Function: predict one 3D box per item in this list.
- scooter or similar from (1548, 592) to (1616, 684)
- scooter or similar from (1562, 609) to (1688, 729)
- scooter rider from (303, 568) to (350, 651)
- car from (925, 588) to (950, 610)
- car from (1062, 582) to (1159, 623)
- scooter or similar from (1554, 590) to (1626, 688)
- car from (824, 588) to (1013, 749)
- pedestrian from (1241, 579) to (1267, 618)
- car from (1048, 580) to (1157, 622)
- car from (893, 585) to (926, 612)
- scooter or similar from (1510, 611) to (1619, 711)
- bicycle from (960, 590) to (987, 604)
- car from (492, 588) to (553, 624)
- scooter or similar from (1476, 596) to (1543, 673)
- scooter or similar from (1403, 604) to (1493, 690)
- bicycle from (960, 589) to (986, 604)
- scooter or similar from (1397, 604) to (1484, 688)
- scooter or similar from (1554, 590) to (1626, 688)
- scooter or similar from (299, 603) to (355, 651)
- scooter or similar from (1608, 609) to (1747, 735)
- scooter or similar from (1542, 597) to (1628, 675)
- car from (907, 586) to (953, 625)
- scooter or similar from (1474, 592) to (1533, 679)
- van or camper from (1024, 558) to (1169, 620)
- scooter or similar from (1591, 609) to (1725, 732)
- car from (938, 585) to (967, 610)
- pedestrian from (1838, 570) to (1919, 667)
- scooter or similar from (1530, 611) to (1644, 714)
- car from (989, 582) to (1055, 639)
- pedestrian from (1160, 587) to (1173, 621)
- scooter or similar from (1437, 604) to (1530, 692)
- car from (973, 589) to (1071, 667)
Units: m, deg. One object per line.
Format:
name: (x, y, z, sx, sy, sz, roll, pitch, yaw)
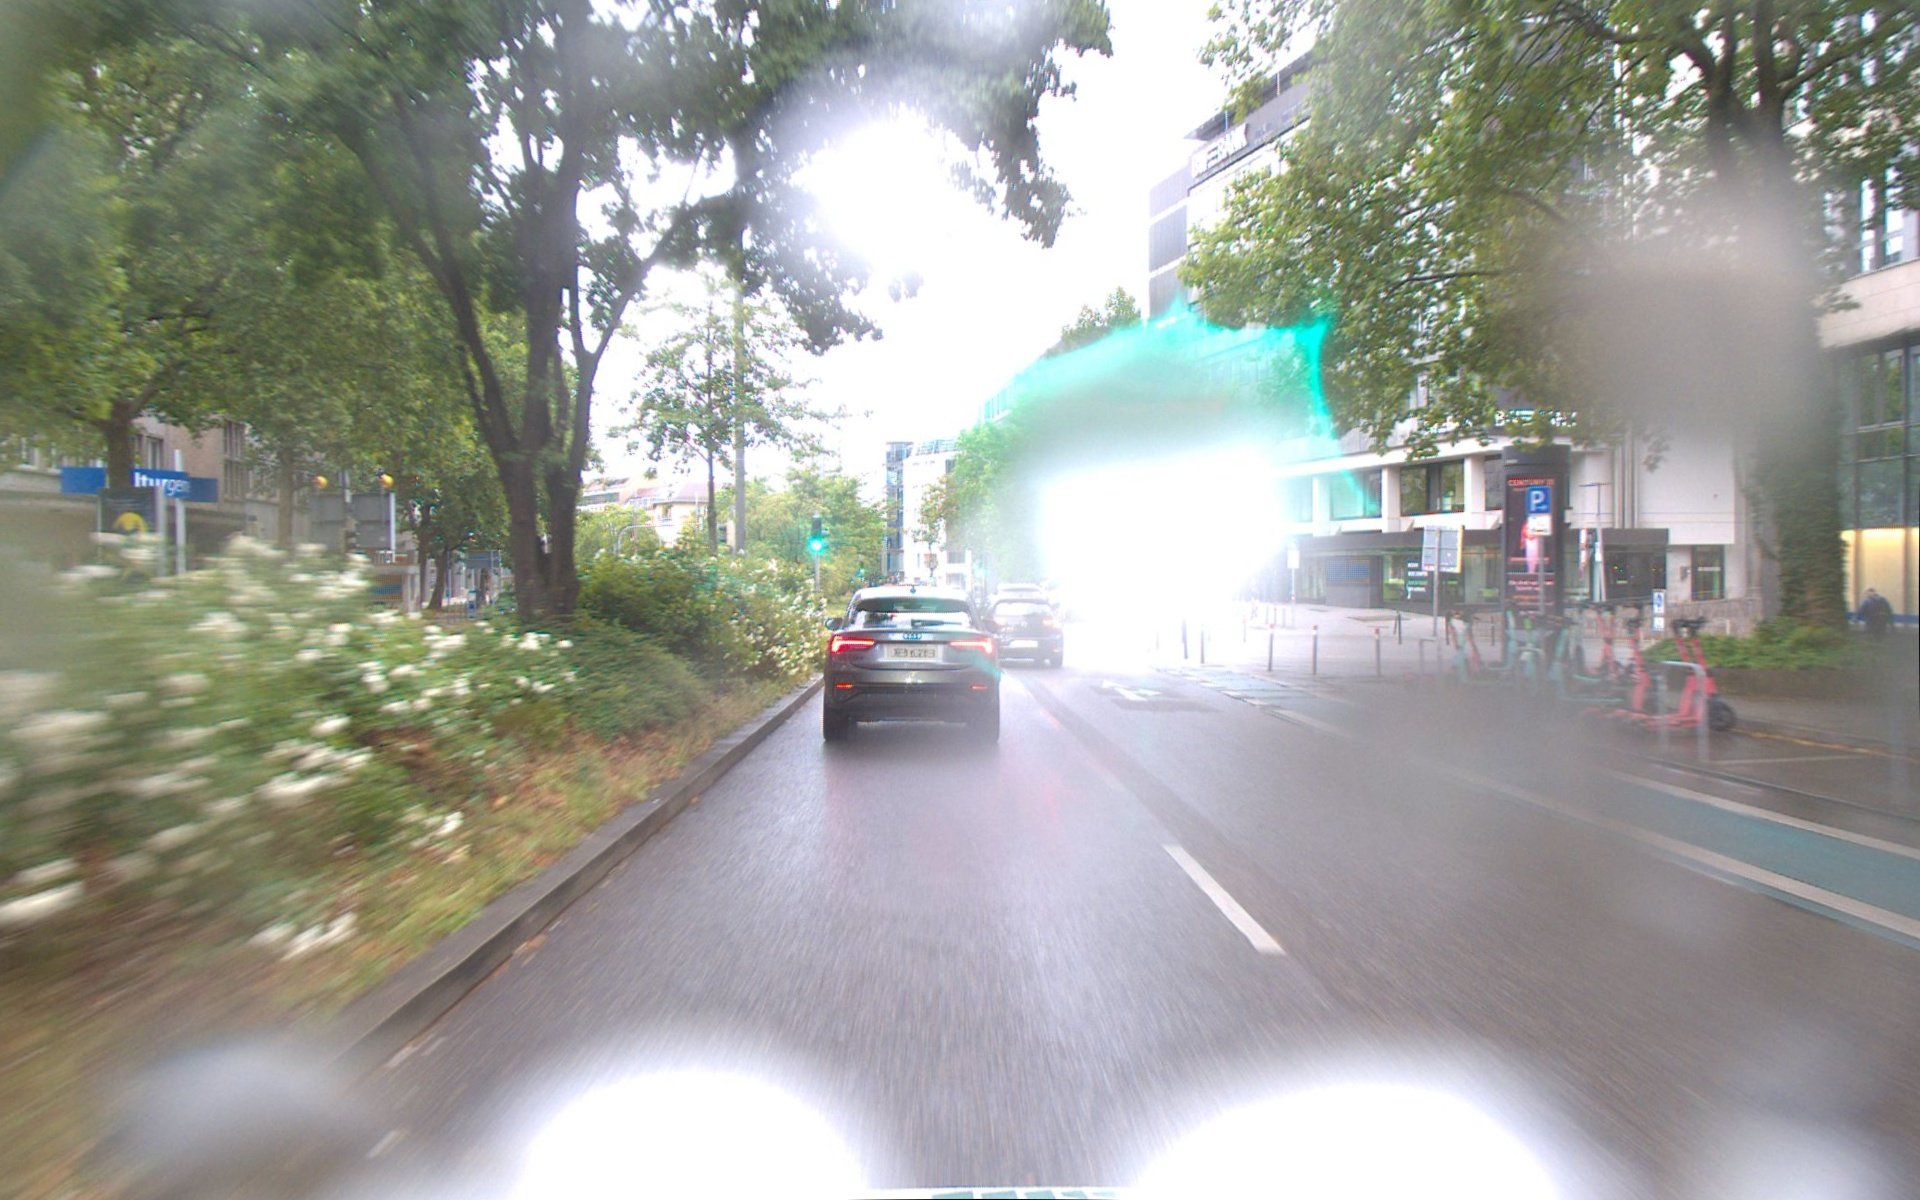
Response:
scooter or similar: (9.153, 0.542, 24.381, 0.478, 1.281, 1.293, -1, 2, -1)
scooter or similar: (7.665, 0.781, 19.074, 1.267, 1.300, 0.535, -2, 2, -12)
scooter rider: (-15.309, 0.229, 39.975, 0.882, 1.974, 0.756, 0, 0, -5)
car: (-1.673, -0.088, 122.040, 1.812, 1.550, 4.037, 0, 0, -1)
car: (6.008, 0.096, 66.054, 3.572, 1.574, 1.716, 1, 0, 18)
scooter or similar: (8.807, 0.530, 23.142, 0.478, 1.281, 1.293, -1, 2, -1)
car: (-0.466, 0.652, 17.986, 1.812, 1.550, 4.037, 0, 0, -2)
pedestrian: (12.900, -0.066, 72.554, 0.790, 1.726, 1.185, 1, 0, -7)
car: (5.921, 0.017, 68.789, 4.172, 1.696, 1.817, 1, 0, 25)
car: (-2.878, -0.093, 94.706, 1.812, 1.550, 4.037, 0, 0, -1)
scooter or similar: (8.019, 0.805, 21.965, 1.263, 1.257, 0.489, -1, 2, 1)
bicycle: (1.210, -0.273, 148.421, 2.294, 1.335, 0.708, 0, 0, -9)
car: (-19.664, 0.237, 74.464, 1.733, 1.459, 4.668, -3, 1, -4)
scooter or similar: (8.936, 0.557, 26.937, 0.479, 1.219, 1.290, 0, 0, -10)
scooter or similar: (7.492, 0.716, 25.417, 1.262, 1.281, 0.490, -1, 2, 10)
bicycle: (1.199, -0.302, 150.469, 2.294, 1.335, 0.708, 0, 0, -9)
scooter or similar: (7.554, 0.721, 26.030, 1.262, 1.281, 0.490, -1, 2, 10)
scooter or similar: (8.807, 0.530, 23.142, 0.478, 1.281, 1.293, -1, 2, -1)
scooter or similar: (-15.274, 0.647, 39.923, 1.158, 1.133, 0.434, 0, 0, -5)
scooter or similar: (7.776, 0.775, 17.948, 1.262, 1.300, 0.537, -1, 2, 3)
scooter or similar: (10.088, 0.570, 26.741, 0.483, 1.219, 1.279, 0, -1, -32)
car: (-1.250, 0.207, 68.044, 1.812, 1.550, 4.037, 0, 0, -1)
scooter or similar: (8.557, 0.546, 26.072, 0.478, 1.281, 1.293, -1, 2, -1)
van or camper: (5.939, -0.477, 72.045, 5.946, 2.603, 2.103, 0, 0, 26)
scooter or similar: (7.751, 0.778, 18.392, 1.262, 1.300, 0.537, -1, 2, 3)
car: (-0.478, -0.153, 106.736, 1.812, 1.550, 4.037, 0, 0, -1)
pedestrian: (18.298, 0.374, 32.952, 0.898, 1.882, 1.276, 1, -1, -1)
scooter or similar: (8.036, 0.800, 21.221, 1.263, 1.257, 0.489, -1, 2, 1)
car: (1.892, 0.293, 51.252, 1.812, 1.698, 4.037, 0, 0, -1)
pedestrian: (11.275, 0.209, 90.465, 0.542, 1.836, 0.761, 1, -1, -4)
scooter or similar: (7.870, 0.717, 24.893, 1.262, 1.281, 0.490, -1, 2, 10)
car: (1.249, 0.544, 34.747, 1.812, 1.550, 4.037, 0, 0, -1)
